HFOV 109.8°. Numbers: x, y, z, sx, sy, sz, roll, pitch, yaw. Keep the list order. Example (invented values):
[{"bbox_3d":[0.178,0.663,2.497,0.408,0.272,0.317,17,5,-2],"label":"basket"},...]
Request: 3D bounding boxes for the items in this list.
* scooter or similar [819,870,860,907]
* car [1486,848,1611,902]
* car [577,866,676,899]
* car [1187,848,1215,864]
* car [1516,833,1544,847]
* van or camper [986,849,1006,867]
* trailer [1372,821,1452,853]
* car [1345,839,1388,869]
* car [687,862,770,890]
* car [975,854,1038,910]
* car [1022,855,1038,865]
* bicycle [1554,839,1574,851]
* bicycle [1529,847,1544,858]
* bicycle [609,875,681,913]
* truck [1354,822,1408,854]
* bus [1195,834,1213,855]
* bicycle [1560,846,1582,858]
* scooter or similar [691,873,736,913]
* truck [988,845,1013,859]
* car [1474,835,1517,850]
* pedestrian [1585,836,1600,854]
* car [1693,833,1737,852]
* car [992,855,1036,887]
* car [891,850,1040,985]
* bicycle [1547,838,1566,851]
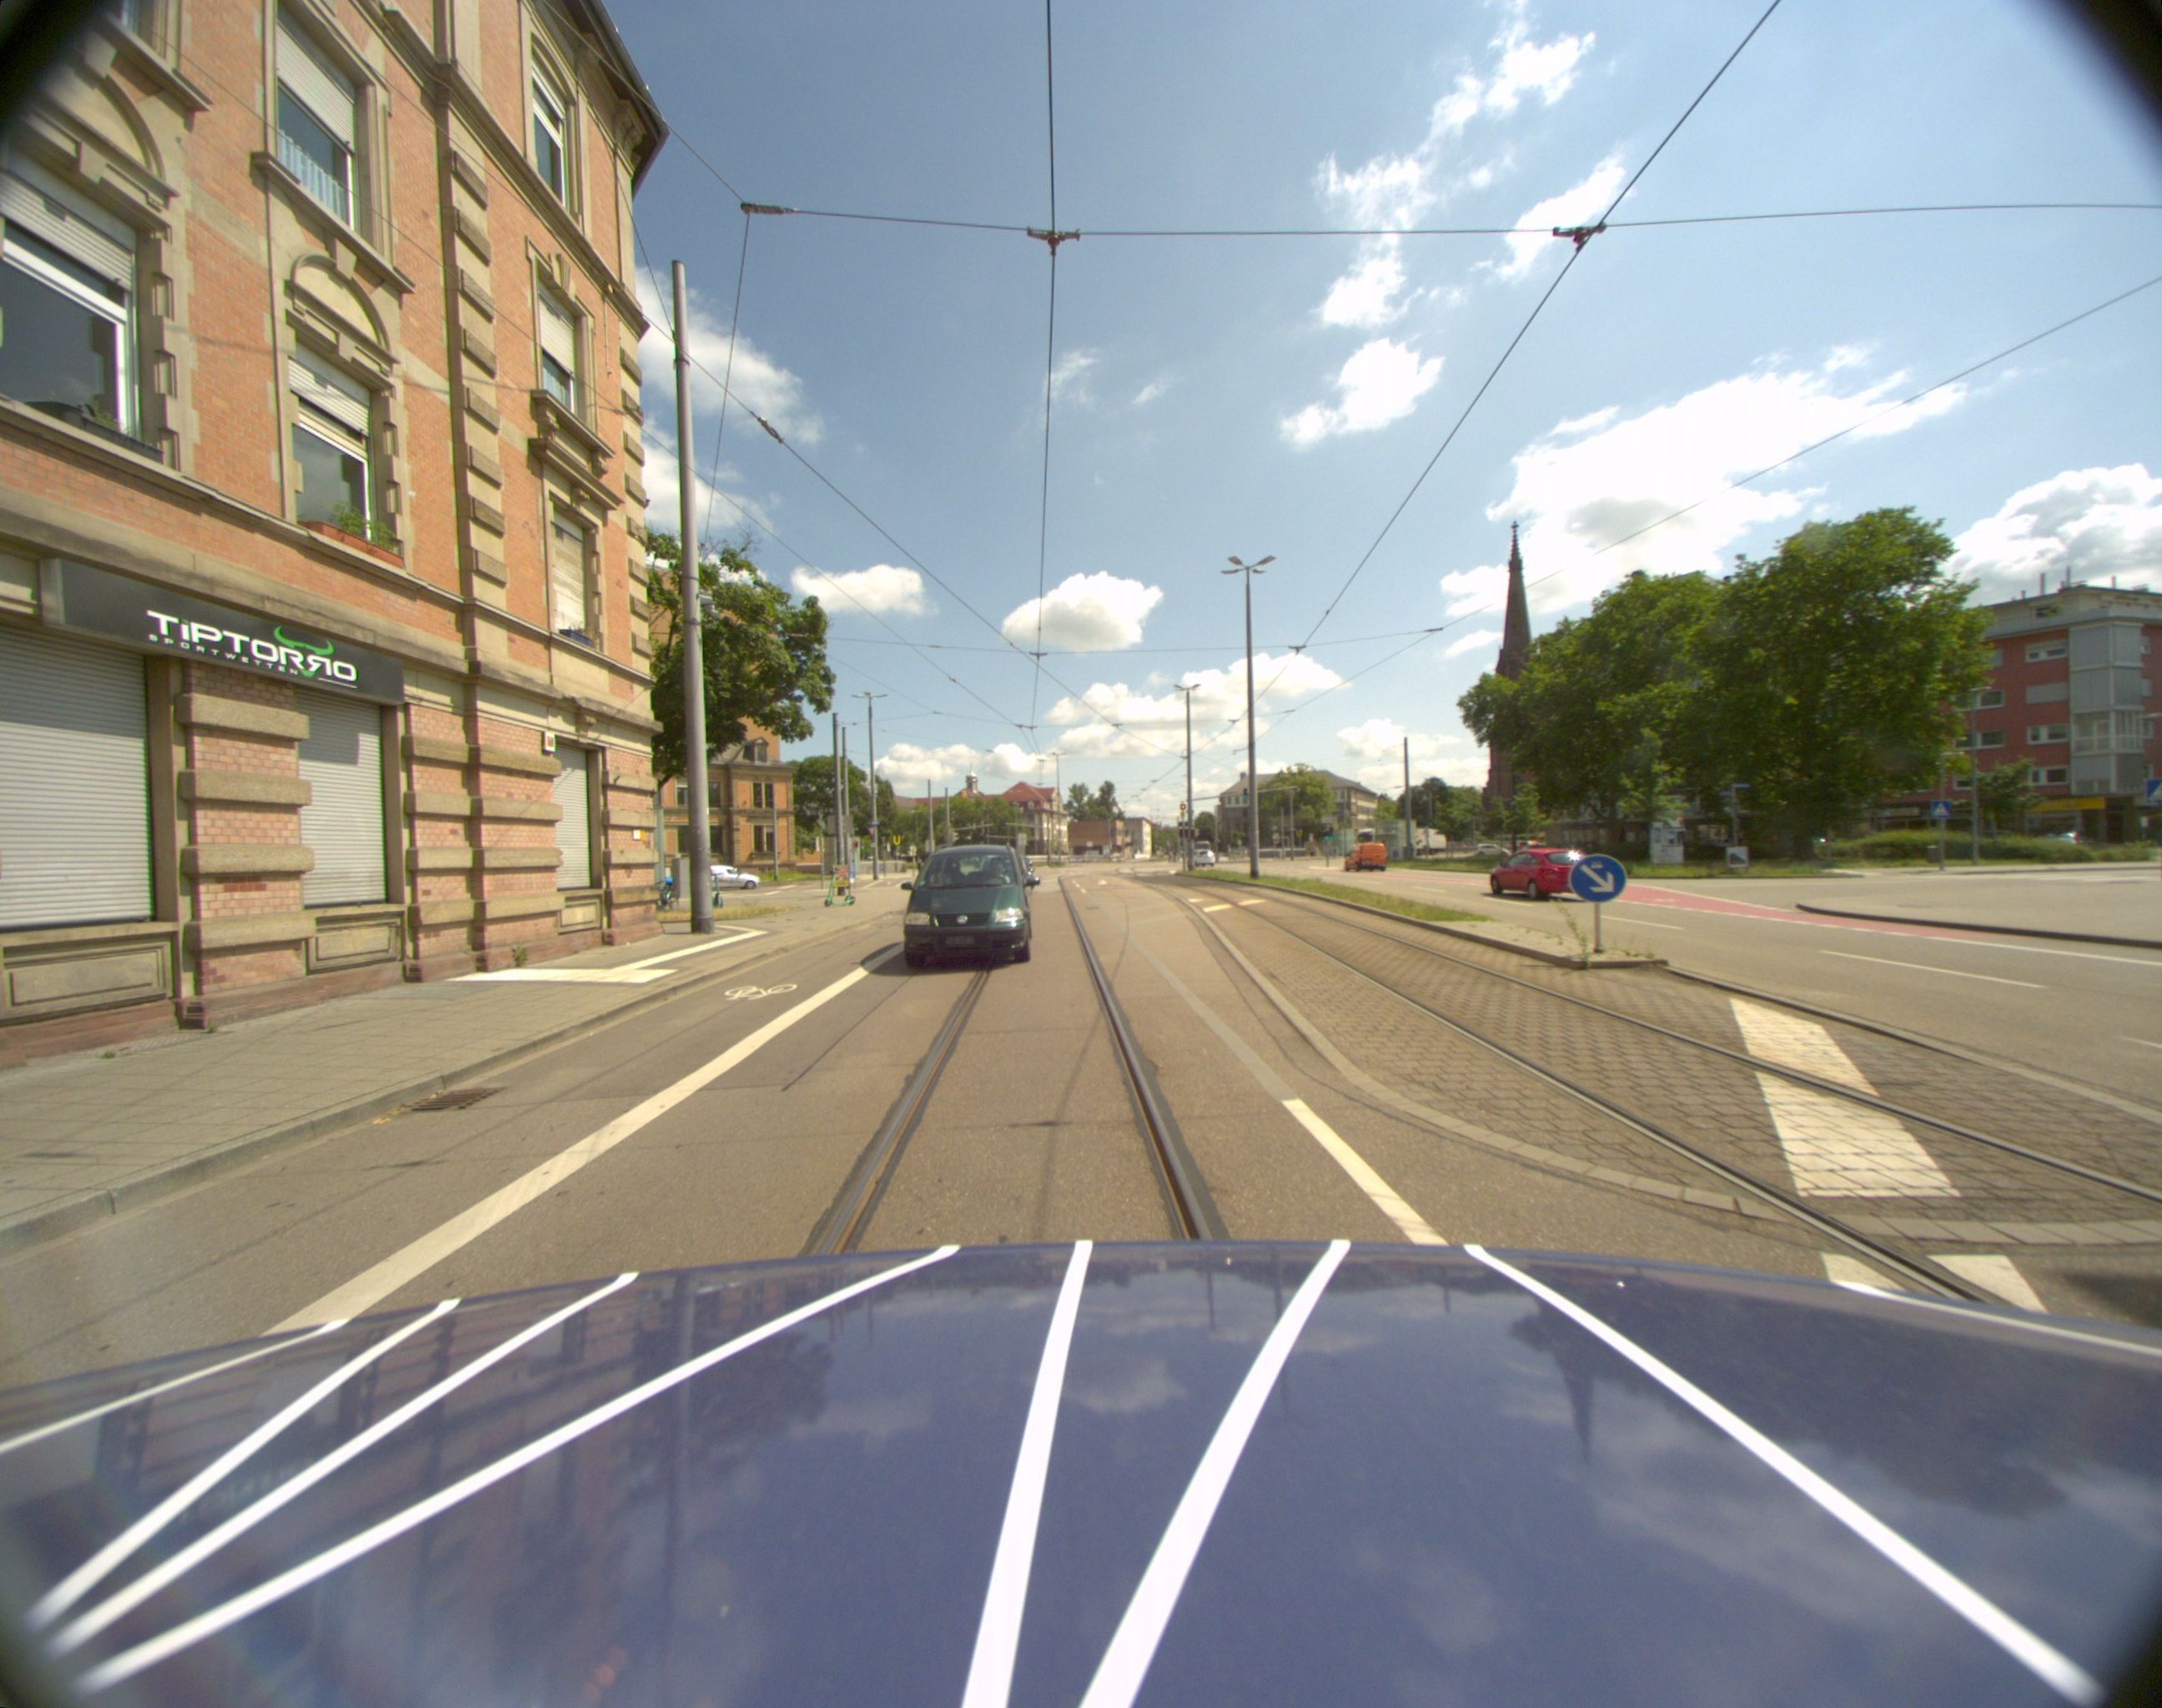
[{"bbox_3d":[-7.984,1.141,25.188,0.949,1.173,1.086,-1,1,4],"label":"scooter or similar"},{"bbox_3d":[13.636,0.548,22.454,1.705,1.420,3.904,0,1,8],"label":"car"},{"bbox_3d":[-25.017,1.533,41.897,4.435,1.542,1.868,-2,3,-39],"label":"car"},{"bbox_3d":[11.913,0.172,75.467,1.772,1.594,4.491,0,0,-4],"label":"car"},{"bbox_3d":[61.829,-1.904,104.633,4.249,1.755,1.766,-2,1,-37],"label":"car"},{"bbox_3d":[-12.969,0.624,115.821,2.234,2.719,5.515,-1,0,-14],"label":"van or camper"},{"bbox_3d":[44.991,-2.303,102.877,13.441,4.053,2.942,-2,1,-33],"label":"trailer"},{"bbox_3d":[18.566,-0.025,49.545,1.914,1.855,4.371,0,0,11],"label":"car"},{"bbox_3d":[-22.336,1.379,48.240,4.435,1.578,1.869,-2,1,-40],"label":"car"},{"bbox_3d":[-2.533,0.873,26.063,1.873,1.607,4.424,-4,1,-5],"label":"car"},{"bbox_3d":[-7.339,0.828,109.083,1.673,1.368,3.911,-1,0,-13],"label":"car"},{"bbox_3d":[47.256,-0.891,74.342,0.494,1.161,1.598,-2,1,-33],"label":"bicycle"},{"bbox_3d":[47.900,-0.147,79.841,0.460,1.139,1.270,-2,0,-37],"label":"bicycle"},{"bbox_3d":[-14.224,1.278,24.874,1.027,1.075,2.263,0,1,1],"label":"bicycle"},{"bbox_3d":[39.201,-2.090,99.152,6.890,4.095,2.956,-2,1,-33],"label":"truck"},{"bbox_3d":[21.165,-1.626,131.057,2.948,3.427,7.953,-1,0,9],"label":"bus"},{"bbox_3d":[45.740,-0.215,70.925,0.494,1.060,1.598,-2,1,-33],"label":"bicycle"},{"bbox_3d":[-12.033,1.254,24.936,0.951,1.196,1.389,-1,1,-9],"label":"scooter or similar"},{"bbox_3d":[-17.941,-0.431,168.374,3.359,2.980,8.719,-2,0,-20],"label":"truck"},{"bbox_3d":[48.808,-1.304,89.552,4.164,1.633,1.631,-1,0,16],"label":"car"},{"bbox_3d":[45.461,-0.823,67.530,0.725,1.551,0.878,-2,0,-25],"label":"pedestrian"},{"bbox_3d":[53.227,-0.983,63.772,3.938,1.502,1.875,-1,0,-35],"label":"car"},{"bbox_3d":[-3.440,0.807,38.538,1.874,1.477,4.423,-2,0,-9],"label":"car"},{"bbox_3d":[-1.615,0.825,12.001,1.819,1.707,4.084,-2,0,-2],"label":"car"},{"bbox_3d":[48.846,-0.978,78.110,0.494,1.257,1.598,-2,1,-33],"label":"bicycle"}]
